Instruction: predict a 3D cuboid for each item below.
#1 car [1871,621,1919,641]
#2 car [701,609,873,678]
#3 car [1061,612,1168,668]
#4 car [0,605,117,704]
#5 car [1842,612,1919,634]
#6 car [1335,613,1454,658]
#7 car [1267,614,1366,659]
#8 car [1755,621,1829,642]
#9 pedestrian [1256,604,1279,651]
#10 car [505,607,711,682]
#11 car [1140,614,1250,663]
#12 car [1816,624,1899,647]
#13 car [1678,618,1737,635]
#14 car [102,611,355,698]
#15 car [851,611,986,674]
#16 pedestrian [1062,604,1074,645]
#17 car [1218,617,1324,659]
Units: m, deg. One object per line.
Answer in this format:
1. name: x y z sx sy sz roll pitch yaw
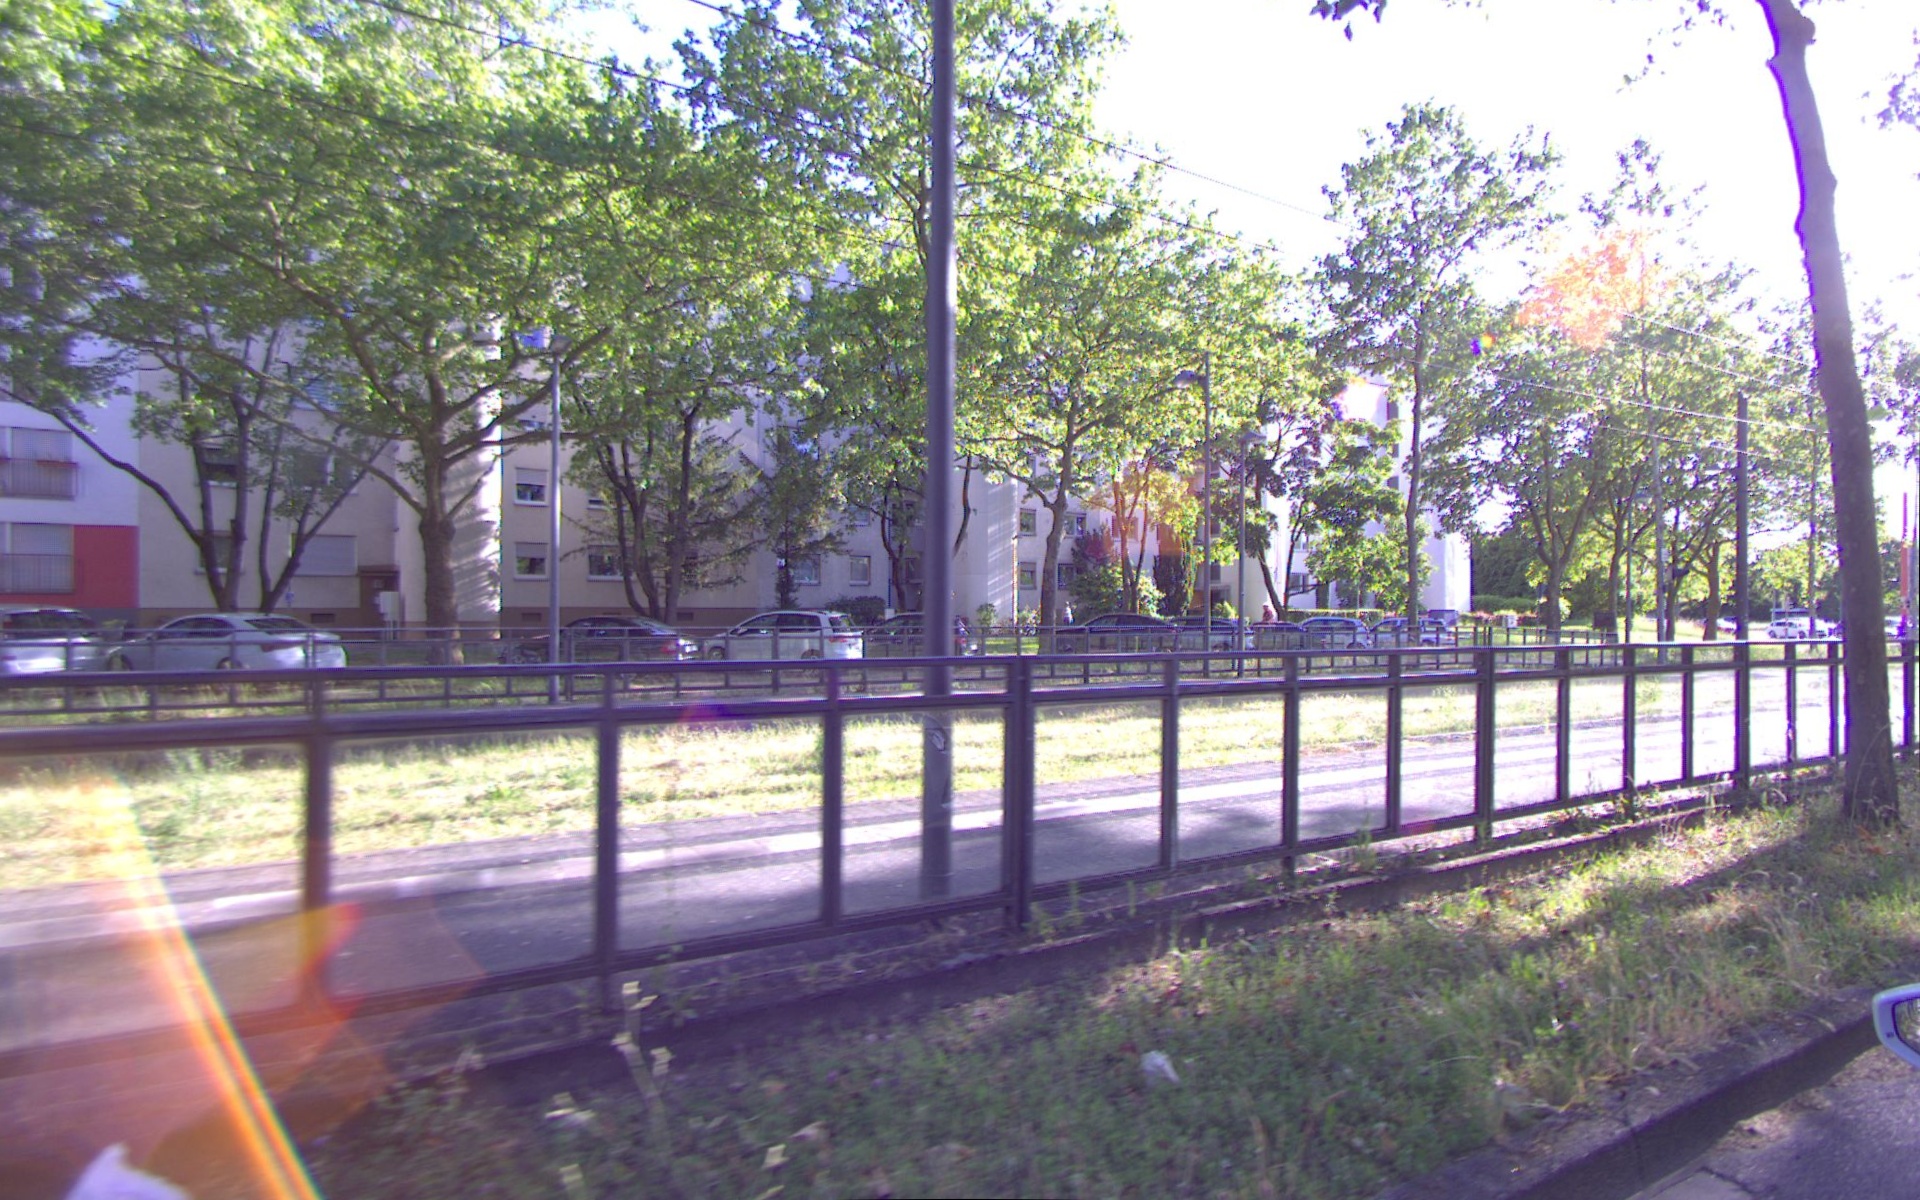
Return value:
1. car: 77.186 2.508 81.915 1.867 1.642 3.992 0 -1 -11
2. car: -4.295 1.029 24.981 3.914 1.565 1.646 0 1 18
3. car: 4.654 1.183 30.117 3.075 1.568 1.465 0 1 12
4. car: -17.143 0.887 17.526 3.977 1.589 1.577 0 0 11
5. car: 71.922 1.783 78.330 1.867 1.632 4.491 -2 -1 -12
6. car: 15.970 1.281 37.097 3.842 1.496 1.632 1 0 17
7. car: 12.572 1.279 35.585 3.221 1.450 1.571 1 0 17
8. car: 68.431 2.557 82.723 1.867 1.632 4.491 -1 -1 -11
9. pedestrian: 11.862 1.052 38.751 0.709 1.816 0.473 1 0 -32
10. car: -7.839 0.953 22.509 4.090 1.565 1.647 0 1 11
11. car: 7.436 1.193 31.901 3.315 1.445 1.541 1 0 13
12. car: 68.606 2.696 76.870 1.867 1.632 4.491 -2 -1 -12
13. car: 67.053 2.363 90.150 1.783 1.455 4.039 -2 -1 -12
14. car: -13.800 0.977 19.031 3.977 1.493 1.577 0 1 11
15. car: -1.116 1.101 26.882 3.321 1.529 1.463 0 1 26
16. pedestrian: 4.769 1.084 44.301 0.446 1.816 0.315 1 0 -37
17. car: 10.397 1.234 33.590 3.317 1.270 1.465 1 0 20
